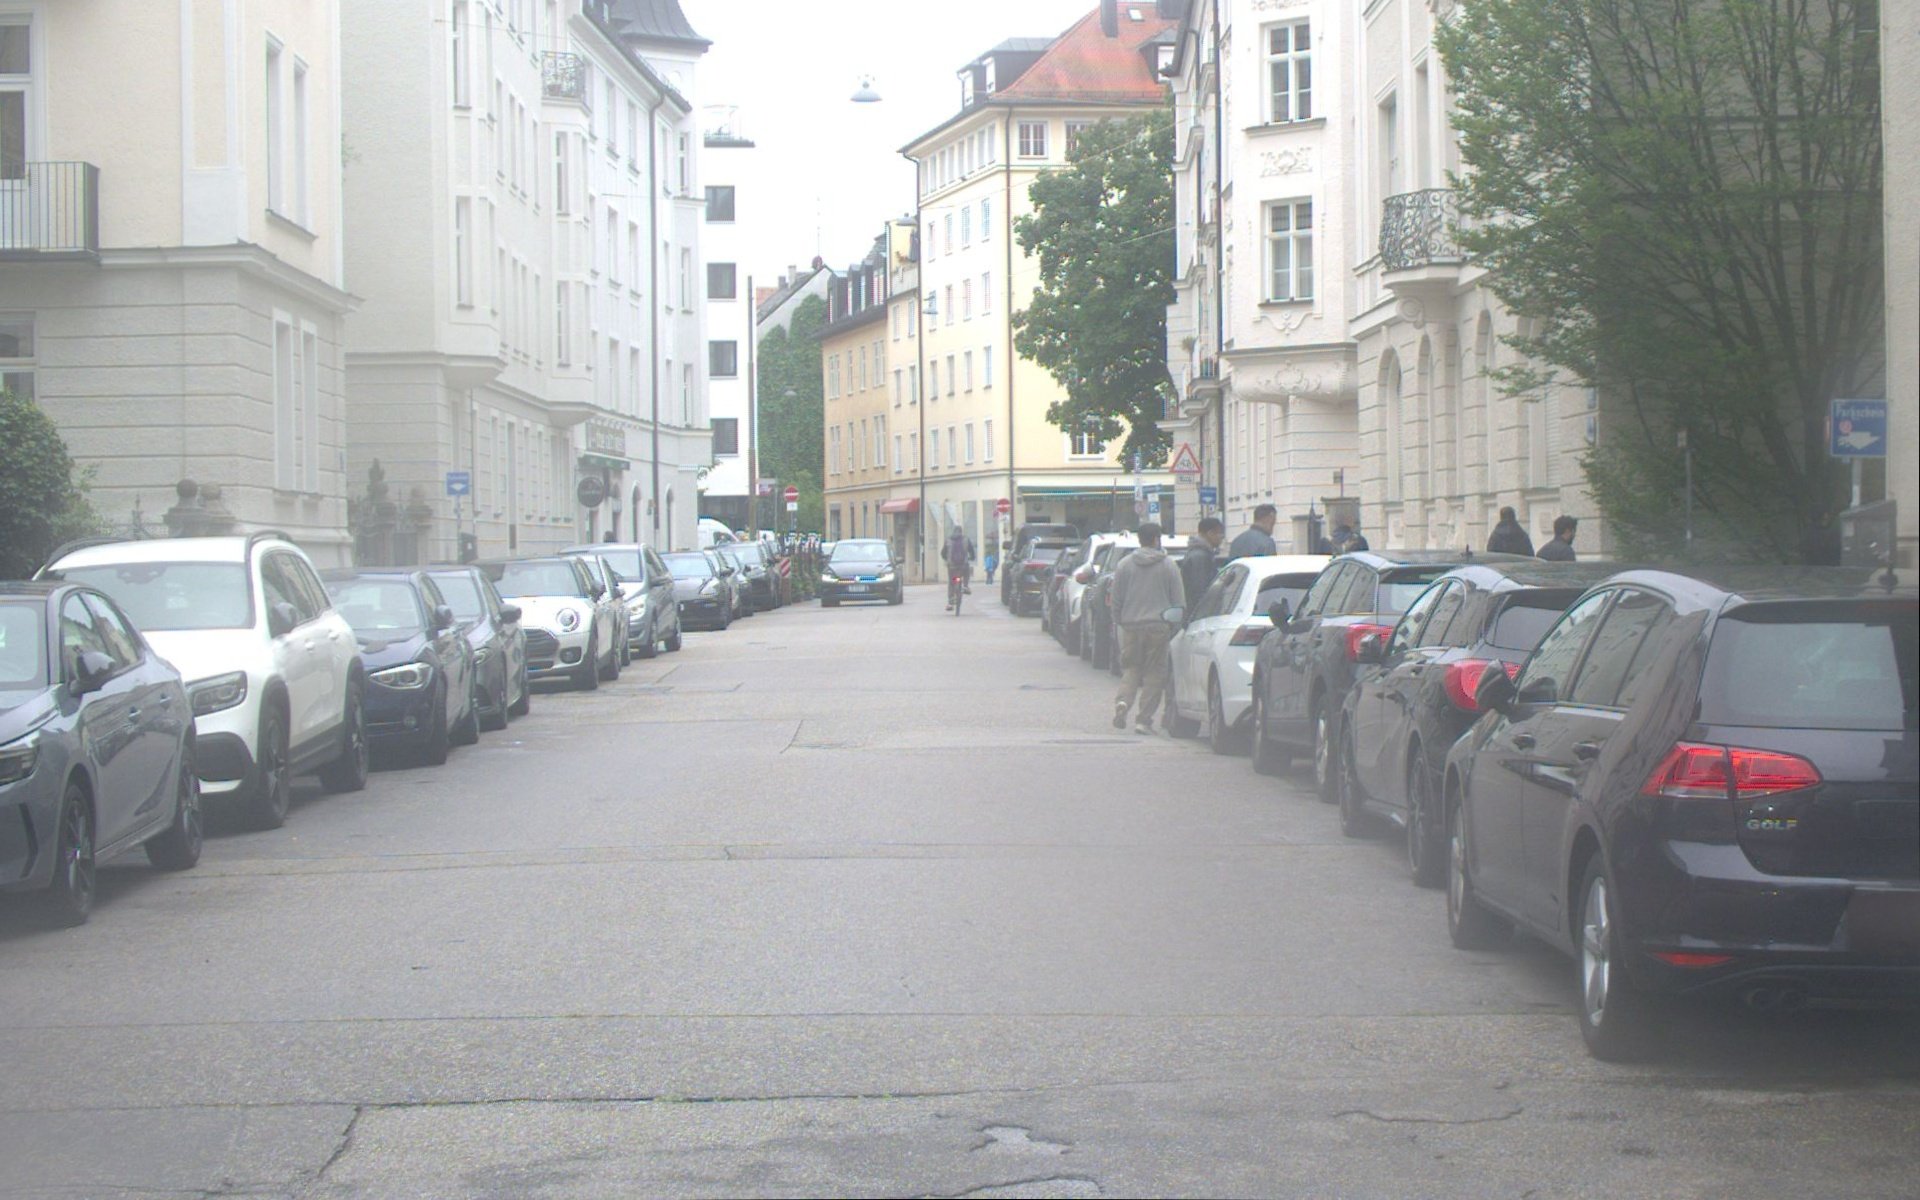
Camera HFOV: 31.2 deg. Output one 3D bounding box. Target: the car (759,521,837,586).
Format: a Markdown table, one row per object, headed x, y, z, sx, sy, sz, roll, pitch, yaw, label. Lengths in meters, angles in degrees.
| x | y | z | sx | sy | sz | roll | pitch | yaw | label |
| --- | --- | --- | --- | --- | --- | --- | --- | --- | --- |
| -4.598 | -1.334 | 98.191 | 1.878 | 1.777 | 4.000 | -1 | 1 | 2 | car |

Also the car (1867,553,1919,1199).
| x | y | z | sx | sy | sz | roll | pitch | yaw | label |
| --- | --- | --- | --- | --- | --- | --- | --- | --- | --- |
| 2.939 | 0.695 | 5.755 | 1.743 | 1.511 | 3.958 | 0 | 1 | -1 | car |

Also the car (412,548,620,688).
| x | y | z | sx | sy | sz | roll | pitch | yaw | label |
| --- | --- | --- | --- | --- | --- | --- | --- | --- | --- |
| -4.796 | 0.162 | 37.594 | 1.797 | 1.430 | 4.080 | -1 | 1 | -1 | car |

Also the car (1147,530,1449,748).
| x | y | z | sx | sy | sz | roll | pitch | yaw | label |
| --- | --- | --- | --- | --- | --- | --- | --- | --- | --- |
| 2.460 | 0.356 | 25.931 | 1.662 | 1.503 | 4.064 | 0 | -2 | -3 | car |

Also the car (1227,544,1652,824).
| x | y | z | sx | sy | sz | roll | pitch | yaw | label |
| --- | --- | --- | --- | --- | --- | --- | --- | --- | --- |
| 2.895 | 0.447 | 21.622 | 1.791 | 1.493 | 4.083 | 2 | 2 | -4 | car |

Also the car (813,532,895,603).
| x | y | z | sx | sy | sz | roll | pitch | yaw | label |
| --- | --- | --- | --- | --- | --- | --- | --- | --- | --- |
| -2.450 | -0.775 | 80.146 | 1.724 | 1.528 | 4.086 | -3 | 1 | 0 | car |

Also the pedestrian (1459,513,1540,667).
| x | y | z | sx | sy | sz | roll | pitch | yaw | label |
| --- | --- | --- | --- | --- | --- | --- | --- | --- | --- |
| 6.013 | -0.122 | 38.338 | 0.682 | 1.673 | 0.812 | -3 | 1 | -1 | pedestrian |

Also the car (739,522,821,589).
| x | y | z | sx | sy | sz | roll | pitch | yaw | label |
| --- | --- | --- | --- | --- | --- | --- | --- | --- | --- |
| -4.879 | -1.220 | 93.480 | 1.843 | 1.751 | 4.000 | -1 | 1 | 2 | car |

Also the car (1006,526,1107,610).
| x | y | z | sx | sy | sz | roll | pitch | yaw | label |
| --- | --- | --- | --- | --- | --- | --- | --- | --- | --- |
| 1.878 | -0.664 | 67.965 | 1.707 | 1.582 | 4.001 | 1 | 1 | -2 | car |

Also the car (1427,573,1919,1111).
| x | y | z | sx | sy | sz | roll | pitch | yaw | label |
| --- | --- | --- | --- | --- | --- | --- | --- | --- | --- |
| 2.627 | 0.637 | 11.249 | 1.641 | 1.413 | 4.000 | 0 | 1 | 0 | car |

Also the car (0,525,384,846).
| x | y | z | sx | sy | sz | roll | pitch | yaw | label |
| --- | --- | --- | --- | --- | --- | --- | --- | --- | --- |
| -4.664 | 0.415 | 20.338 | 1.806 | 1.642 | 4.486 | -2 | 1 | -1 | car |

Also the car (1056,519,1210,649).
| x | y | z | sx | sy | sz | roll | pitch | yaw | label |
| --- | --- | --- | --- | --- | --- | --- | --- | --- | --- |
| 2.310 | -0.259 | 46.897 | 1.895 | 1.630 | 4.391 | -1 | 2 | 0 | car |

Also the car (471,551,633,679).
| x | y | z | sx | sy | sz | roll | pitch | yaw | label |
| --- | --- | --- | --- | --- | --- | --- | --- | --- | --- |
| -4.949 | 0.145 | 42.116 | 1.644 | 1.398 | 4.001 | -3 | 1 | -3 | car |

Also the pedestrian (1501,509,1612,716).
| x | y | z | sx | sy | sz | roll | pitch | yaw | label |
| --- | --- | --- | --- | --- | --- | --- | --- | --- | --- |
| 5.304 | 0.102 | 30.609 | 0.859 | 1.811 | 0.679 | 0 | 1 | -1 | pedestrian |

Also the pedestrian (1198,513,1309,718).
| x | y | z | sx | sy | sz | roll | pitch | yaw | label |
| --- | --- | --- | --- | --- | --- | --- | --- | --- | --- |
| 2.557 | 0.123 | 30.031 | 0.882 | 1.763 | 0.672 | -1 | 1 | -1 | pedestrian |

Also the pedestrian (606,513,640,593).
| x | y | z | sx | sy | sz | roll | pitch | yaw | label |
| --- | --- | --- | --- | --- | --- | --- | --- | --- | --- |
| -7.261 | -1.019 | 74.127 | 0.697 | 1.701 | 0.665 | -1 | 1 | -3 | pedestrian |

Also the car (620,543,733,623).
| x | y | z | sx | sy | sz | roll | pitch | yaw | label |
| --- | --- | --- | --- | --- | --- | --- | --- | --- | --- |
| -5.082 | -0.331 | 62.099 | 1.849 | 1.362 | 4.703 | -1 | 1 | -3 | car |

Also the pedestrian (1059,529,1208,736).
| x | y | z | sx | sy | sz | roll | pitch | yaw | label |
| --- | --- | --- | --- | --- | --- | --- | --- | --- | --- |
| 1.414 | 0.253 | 27.961 | 0.866 | 1.652 | 0.851 | 0 | 1 | 39 | pedestrian |

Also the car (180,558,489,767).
| x | y | z | sx | sy | sz | roll | pitch | yaw | label |
| --- | --- | --- | --- | --- | --- | --- | --- | --- | --- |
| -4.553 | 0.401 | 25.537 | 1.768 | 1.415 | 4.001 | 0 | 1 | -3 | car |

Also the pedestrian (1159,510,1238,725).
| x | y | z | sx | sy | sz | roll | pitch | yaw | label |
| --- | --- | --- | --- | --- | --- | --- | --- | --- | --- |
| 1.981 | 0.138 | 28.559 | 0.628 | 1.763 | 0.672 | 0 | 1 | 3 | pedestrian |

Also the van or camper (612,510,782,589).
| x | y | z | sx | sy | sz | roll | pitch | yaw | label |
| --- | --- | --- | --- | --- | --- | --- | --- | --- | --- |
| -9.434 | -1.810 | 122.951 | 5.903 | 2.668 | 1.873 | -1 | -1 | -8 | van or camper |

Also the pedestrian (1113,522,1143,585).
| x | y | z | sx | sy | sz | roll | pitch | yaw | label |
| --- | --- | --- | --- | --- | --- | --- | --- | --- | --- |
| 4.629 | -1.287 | 94.684 | 0.703 | 1.722 | 0.703 | -2 | 1 | -3 | pedestrian |

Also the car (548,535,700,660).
| x | y | z | sx | sy | sz | roll | pitch | yaw | label |
| --- | --- | --- | --- | --- | --- | --- | --- | --- | --- |
| -4.689 | -0.068 | 48.448 | 1.696 | 1.575 | 4.062 | -3 | 1 | 0 | car |

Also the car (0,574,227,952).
| x | y | z | sx | sy | sz | roll | pitch | yaw | label |
| --- | --- | --- | --- | --- | --- | --- | --- | --- | --- |
| -4.486 | 0.667 | 15.289 | 1.642 | 1.425 | 3.920 | -4 | 1 | -2 | car |

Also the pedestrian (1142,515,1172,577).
| x | y | z | sx | sy | sz | roll | pitch | yaw | label |
| --- | --- | --- | --- | --- | --- | --- | --- | --- | --- |
| 5.444 | -1.483 | 94.930 | 0.679 | 1.668 | 0.654 | -3 | 1 | -3 | pedestrian |

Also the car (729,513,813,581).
| x | y | z | sx | sy | sz | roll | pitch | yaw | label |
| --- | --- | --- | --- | --- | --- | --- | --- | --- | --- |
| -4.258 | -1.201 | 77.916 | 1.741 | 1.481 | 4.181 | -1 | 1 | -1 | car |

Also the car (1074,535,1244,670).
| x | y | z | sx | sy | sz | roll | pitch | yaw | label |
| --- | --- | --- | --- | --- | --- | --- | --- | --- | --- |
| 2.321 | -0.016 | 41.031 | 1.748 | 1.519 | 4.170 | 0 | 1 | 0 | car |

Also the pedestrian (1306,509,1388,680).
| x | y | z | sx | sy | sz | roll | pitch | yaw | label |
| --- | --- | --- | --- | --- | --- | --- | --- | --- | --- |
| 4.156 | -0.069 | 36.949 | 0.682 | 1.769 | 0.855 | -3 | 1 | 0 | pedestrian |

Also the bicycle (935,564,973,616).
| x | y | z | sx | sy | sz | roll | pitch | yaw | label |
| --- | --- | --- | --- | --- | --- | --- | --- | --- | --- |
| -0.115 | -0.204 | 67.444 | 0.639 | 1.001 | 1.574 | -1 | 1 | 4 | bicycle |

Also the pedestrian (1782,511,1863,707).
| x | y | z | sx | sy | sz | roll | pitch | yaw | label |
| --- | --- | --- | --- | --- | --- | --- | --- | --- | --- |
| 7.963 | 0.079 | 31.747 | 0.572 | 1.788 | 0.555 | -1 | 1 | -2 | pedestrian |

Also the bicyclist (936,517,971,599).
| x | y | z | sx | sy | sz | roll | pitch | yaw | label |
| --- | --- | --- | --- | --- | --- | --- | --- | --- | --- |
| -0.122 | -0.830 | 67.488 | 0.606 | 1.601 | 0.757 | -1 | 1 | 4 | bicyclist |

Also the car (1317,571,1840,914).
| x | y | z | sx | sy | sz | roll | pitch | yaw | label |
| --- | --- | --- | --- | --- | --- | --- | --- | --- | --- |
| 2.802 | 0.592 | 16.433 | 1.742 | 1.393 | 4.022 | 1 | 0 | 0 | car |

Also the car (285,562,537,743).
| x | y | z | sx | sy | sz | roll | pitch | yaw | label |
| --- | --- | --- | --- | --- | --- | --- | --- | --- | --- |
| -4.753 | 0.405 | 30.243 | 1.734 | 1.360 | 4.194 | -3 | 1 | -3 | car |

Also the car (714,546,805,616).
| x | y | z | sx | sy | sz | roll | pitch | yaw | label |
| --- | --- | --- | --- | --- | --- | --- | --- | --- | --- |
| -4.287 | -0.428 | 73.159 | 1.810 | 1.380 | 4.444 | -2 | 1 | -4 | car |
